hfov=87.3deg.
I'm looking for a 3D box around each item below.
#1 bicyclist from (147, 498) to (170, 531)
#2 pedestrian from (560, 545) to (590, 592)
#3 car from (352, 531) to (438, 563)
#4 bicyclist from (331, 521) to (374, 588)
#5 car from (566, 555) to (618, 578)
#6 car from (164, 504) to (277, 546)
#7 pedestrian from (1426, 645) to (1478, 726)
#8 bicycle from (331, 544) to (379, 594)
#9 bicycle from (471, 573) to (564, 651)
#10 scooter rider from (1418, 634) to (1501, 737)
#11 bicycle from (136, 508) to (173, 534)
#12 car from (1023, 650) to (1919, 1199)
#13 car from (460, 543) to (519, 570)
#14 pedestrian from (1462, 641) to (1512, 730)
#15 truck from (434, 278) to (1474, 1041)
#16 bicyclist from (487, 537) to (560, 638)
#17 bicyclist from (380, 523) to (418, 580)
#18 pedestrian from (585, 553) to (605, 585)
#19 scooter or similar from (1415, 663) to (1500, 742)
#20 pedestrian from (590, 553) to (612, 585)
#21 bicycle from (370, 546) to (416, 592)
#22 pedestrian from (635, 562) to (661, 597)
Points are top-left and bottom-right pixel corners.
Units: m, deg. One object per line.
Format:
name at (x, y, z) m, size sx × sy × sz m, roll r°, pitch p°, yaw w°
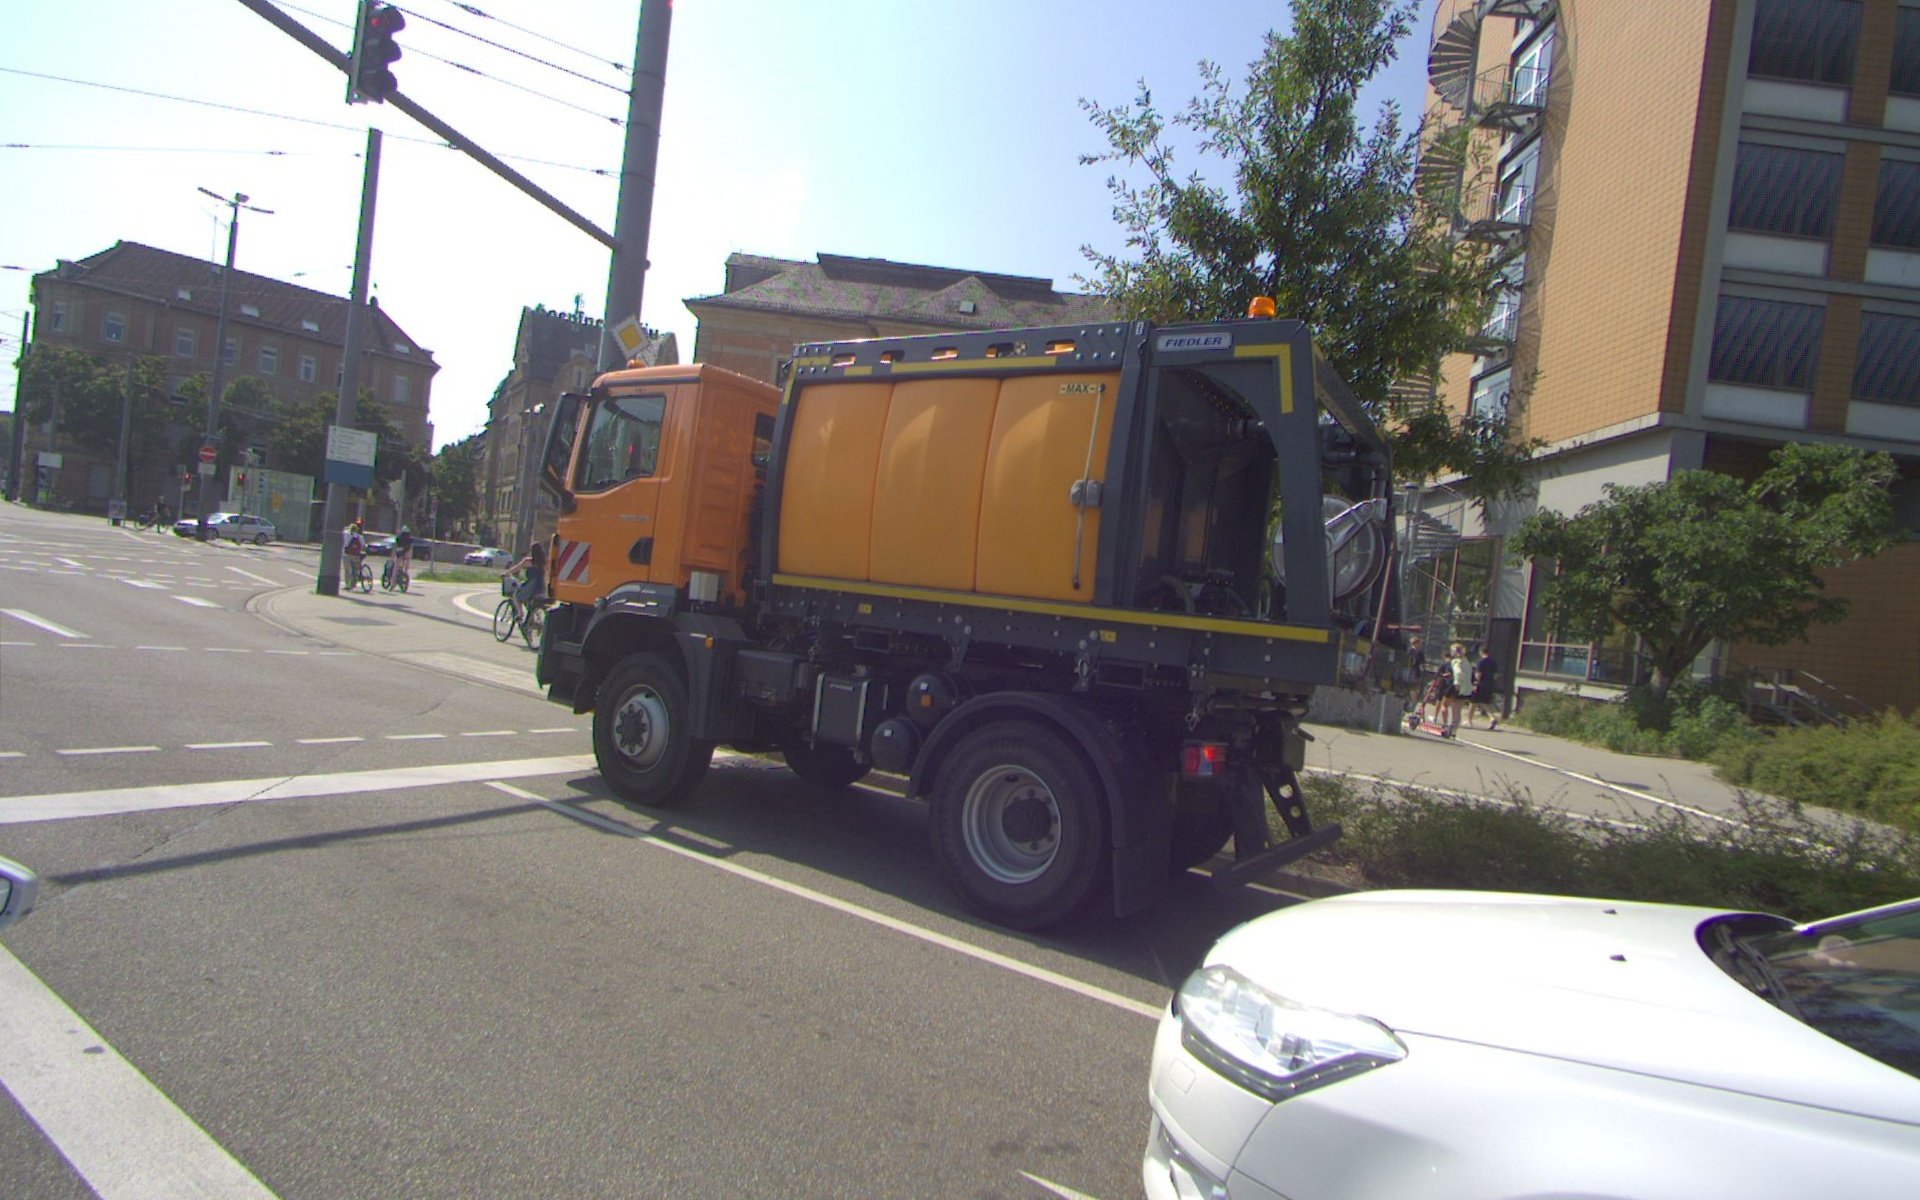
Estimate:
bicyclist at (-40.576, -4.344, 50.931) m, size 0.511 × 1.548 × 0.613 m, roll 7°, pitch 1°, yaw 8°
pedestrian at (-15.024, -1.215, 39.284) m, size 0.808 × 1.746 × 0.545 m, roll 7°, pitch 1°, yaw -9°
car at (-34.444, -3.203, 61.500) m, size 1.742 × 1.433 × 4.771 m, roll 7°, pitch 0°, yaw 12°
bicyclist at (-14.957, -1.124, 24.754) m, size 0.702 × 1.537 × 0.626 m, roll 7°, pitch 1°, yaw 44°
car at (-31.740, -2.878, 86.804) m, size 1.962 × 1.523 × 4.628 m, roll 7°, pitch 0°, yaw 11°
car at (-36.442, -3.676, 49.709) m, size 1.742 × 1.433 × 4.189 m, roll 7°, pitch 0°, yaw 18°
pedestrian at (11.074, 1.904, 22.662) m, size 0.665 × 1.695 × 0.837 m, roll 6°, pitch 1°, yaw 10°
bicycle at (-14.834, -0.766, 24.663) m, size 1.632 × 1.068 × 0.535 m, roll 7°, pitch 1°, yaw 44°
bicycle at (-7.309, 0.187, 16.578) m, size 1.794 × 1.068 × 0.492 m, roll 7°, pitch 1°, yaw 36°
scooter rider at (9.406, 1.602, 18.950) m, size 1.026 × 1.779 × 0.856 m, roll 6°, pitch -1°, yaw 43°
bicycle at (-40.803, -4.006, 50.961) m, size 1.622 × 1.068 × 0.471 m, roll 7°, pitch 1°, yaw 11°
car at (2.526, 1.100, 1.533) m, size 4.534 × 1.446 × 1.770 m, roll 7°, pitch 0°, yaw 33°
car at (-33.540, -3.089, 71.828) m, size 1.742 × 1.433 × 4.203 m, roll 7°, pitch 0°, yaw 7°
pedestrian at (11.903, 1.908, 22.732) m, size 0.617 × 1.895 × 0.837 m, roll 6°, pitch 1°, yaw 13°
truck at (-0.467, 0.045, 7.074) m, size 6.751 × 3.171 × 2.495 m, roll 7°, pitch -1°, yaw 34°
bicyclist at (-7.120, -0.203, 16.418) m, size 0.653 × 1.537 × 0.734 m, roll 7°, pitch 1°, yaw 36°
bicyclist at (-14.804, -1.288, 26.564) m, size 0.882 × 1.410 × 0.529 m, roll 7°, pitch 1°, yaw 44°
pedestrian at (-18.934, -1.605, 52.142) m, size 0.727 × 1.595 × 0.787 m, roll 6°, pitch 1°, yaw -14°
scooter or similar at (9.373, 1.923, 18.972) m, size 1.162 × 1.294 × 0.648 m, roll 6°, pitch -1°, yaw 44°
pedestrian at (-14.758, -1.294, 41.397) m, size 0.660 × 1.229 × 0.523 m, roll 6°, pitch 1°, yaw -30°
bicycle at (-15.130, -0.825, 26.831) m, size 1.632 × 1.068 × 0.535 m, roll 7°, pitch 1°, yaw 44°
pedestrian at (-13.591, -0.875, 43.847) m, size 0.679 × 1.417 × 0.767 m, roll 7°, pitch 1°, yaw 6°
